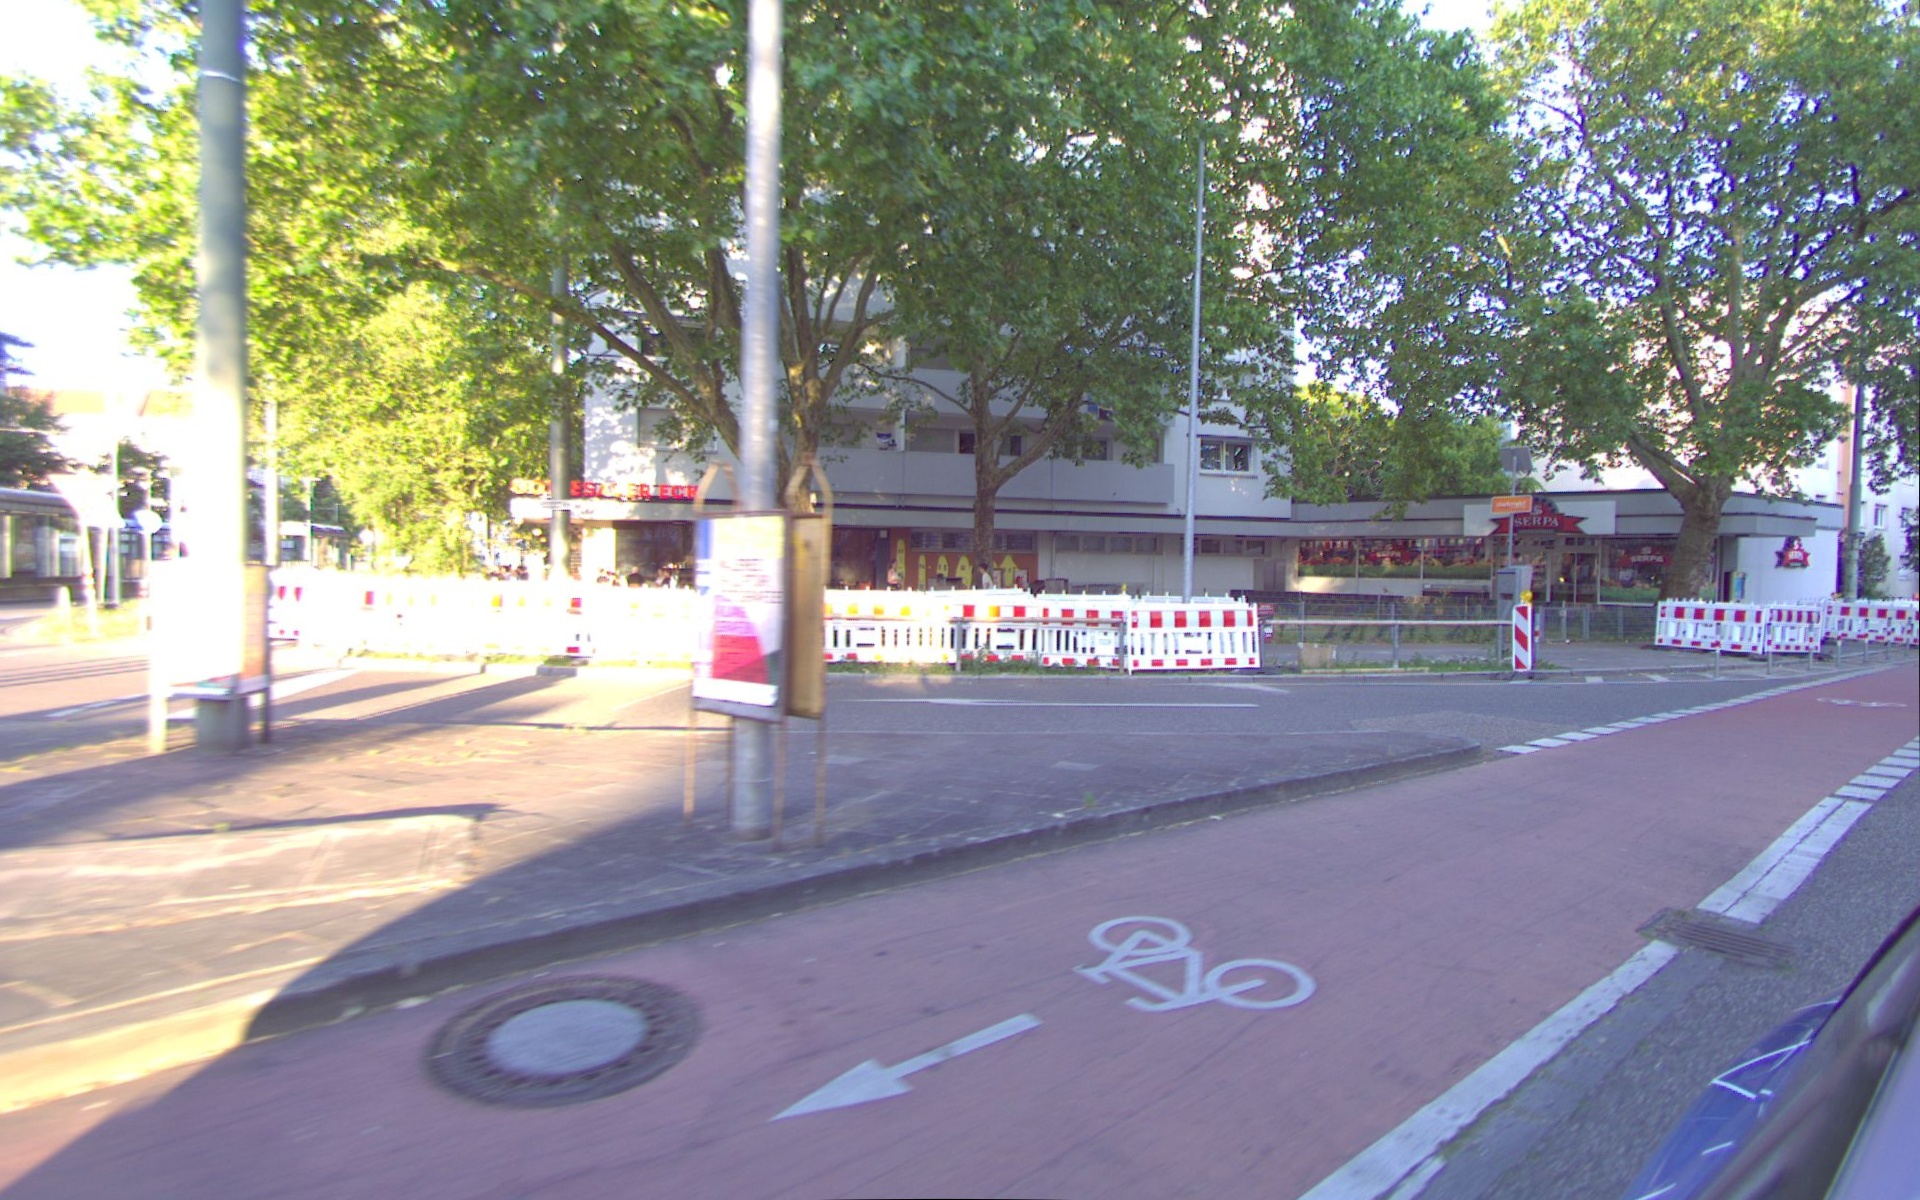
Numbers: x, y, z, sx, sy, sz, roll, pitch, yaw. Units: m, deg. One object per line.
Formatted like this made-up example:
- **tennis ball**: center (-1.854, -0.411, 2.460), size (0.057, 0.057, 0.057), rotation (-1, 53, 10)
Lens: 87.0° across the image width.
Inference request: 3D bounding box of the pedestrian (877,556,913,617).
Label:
- **pedestrian**: center (-1.757, -0.368, 27.324), size (0.639, 1.608, 0.735), rotation (1, 2, 44)

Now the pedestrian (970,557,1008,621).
- **pedestrian**: center (0.742, -0.288, 25.953), size (0.733, 1.608, 0.640), rotation (-1, 1, -40)
